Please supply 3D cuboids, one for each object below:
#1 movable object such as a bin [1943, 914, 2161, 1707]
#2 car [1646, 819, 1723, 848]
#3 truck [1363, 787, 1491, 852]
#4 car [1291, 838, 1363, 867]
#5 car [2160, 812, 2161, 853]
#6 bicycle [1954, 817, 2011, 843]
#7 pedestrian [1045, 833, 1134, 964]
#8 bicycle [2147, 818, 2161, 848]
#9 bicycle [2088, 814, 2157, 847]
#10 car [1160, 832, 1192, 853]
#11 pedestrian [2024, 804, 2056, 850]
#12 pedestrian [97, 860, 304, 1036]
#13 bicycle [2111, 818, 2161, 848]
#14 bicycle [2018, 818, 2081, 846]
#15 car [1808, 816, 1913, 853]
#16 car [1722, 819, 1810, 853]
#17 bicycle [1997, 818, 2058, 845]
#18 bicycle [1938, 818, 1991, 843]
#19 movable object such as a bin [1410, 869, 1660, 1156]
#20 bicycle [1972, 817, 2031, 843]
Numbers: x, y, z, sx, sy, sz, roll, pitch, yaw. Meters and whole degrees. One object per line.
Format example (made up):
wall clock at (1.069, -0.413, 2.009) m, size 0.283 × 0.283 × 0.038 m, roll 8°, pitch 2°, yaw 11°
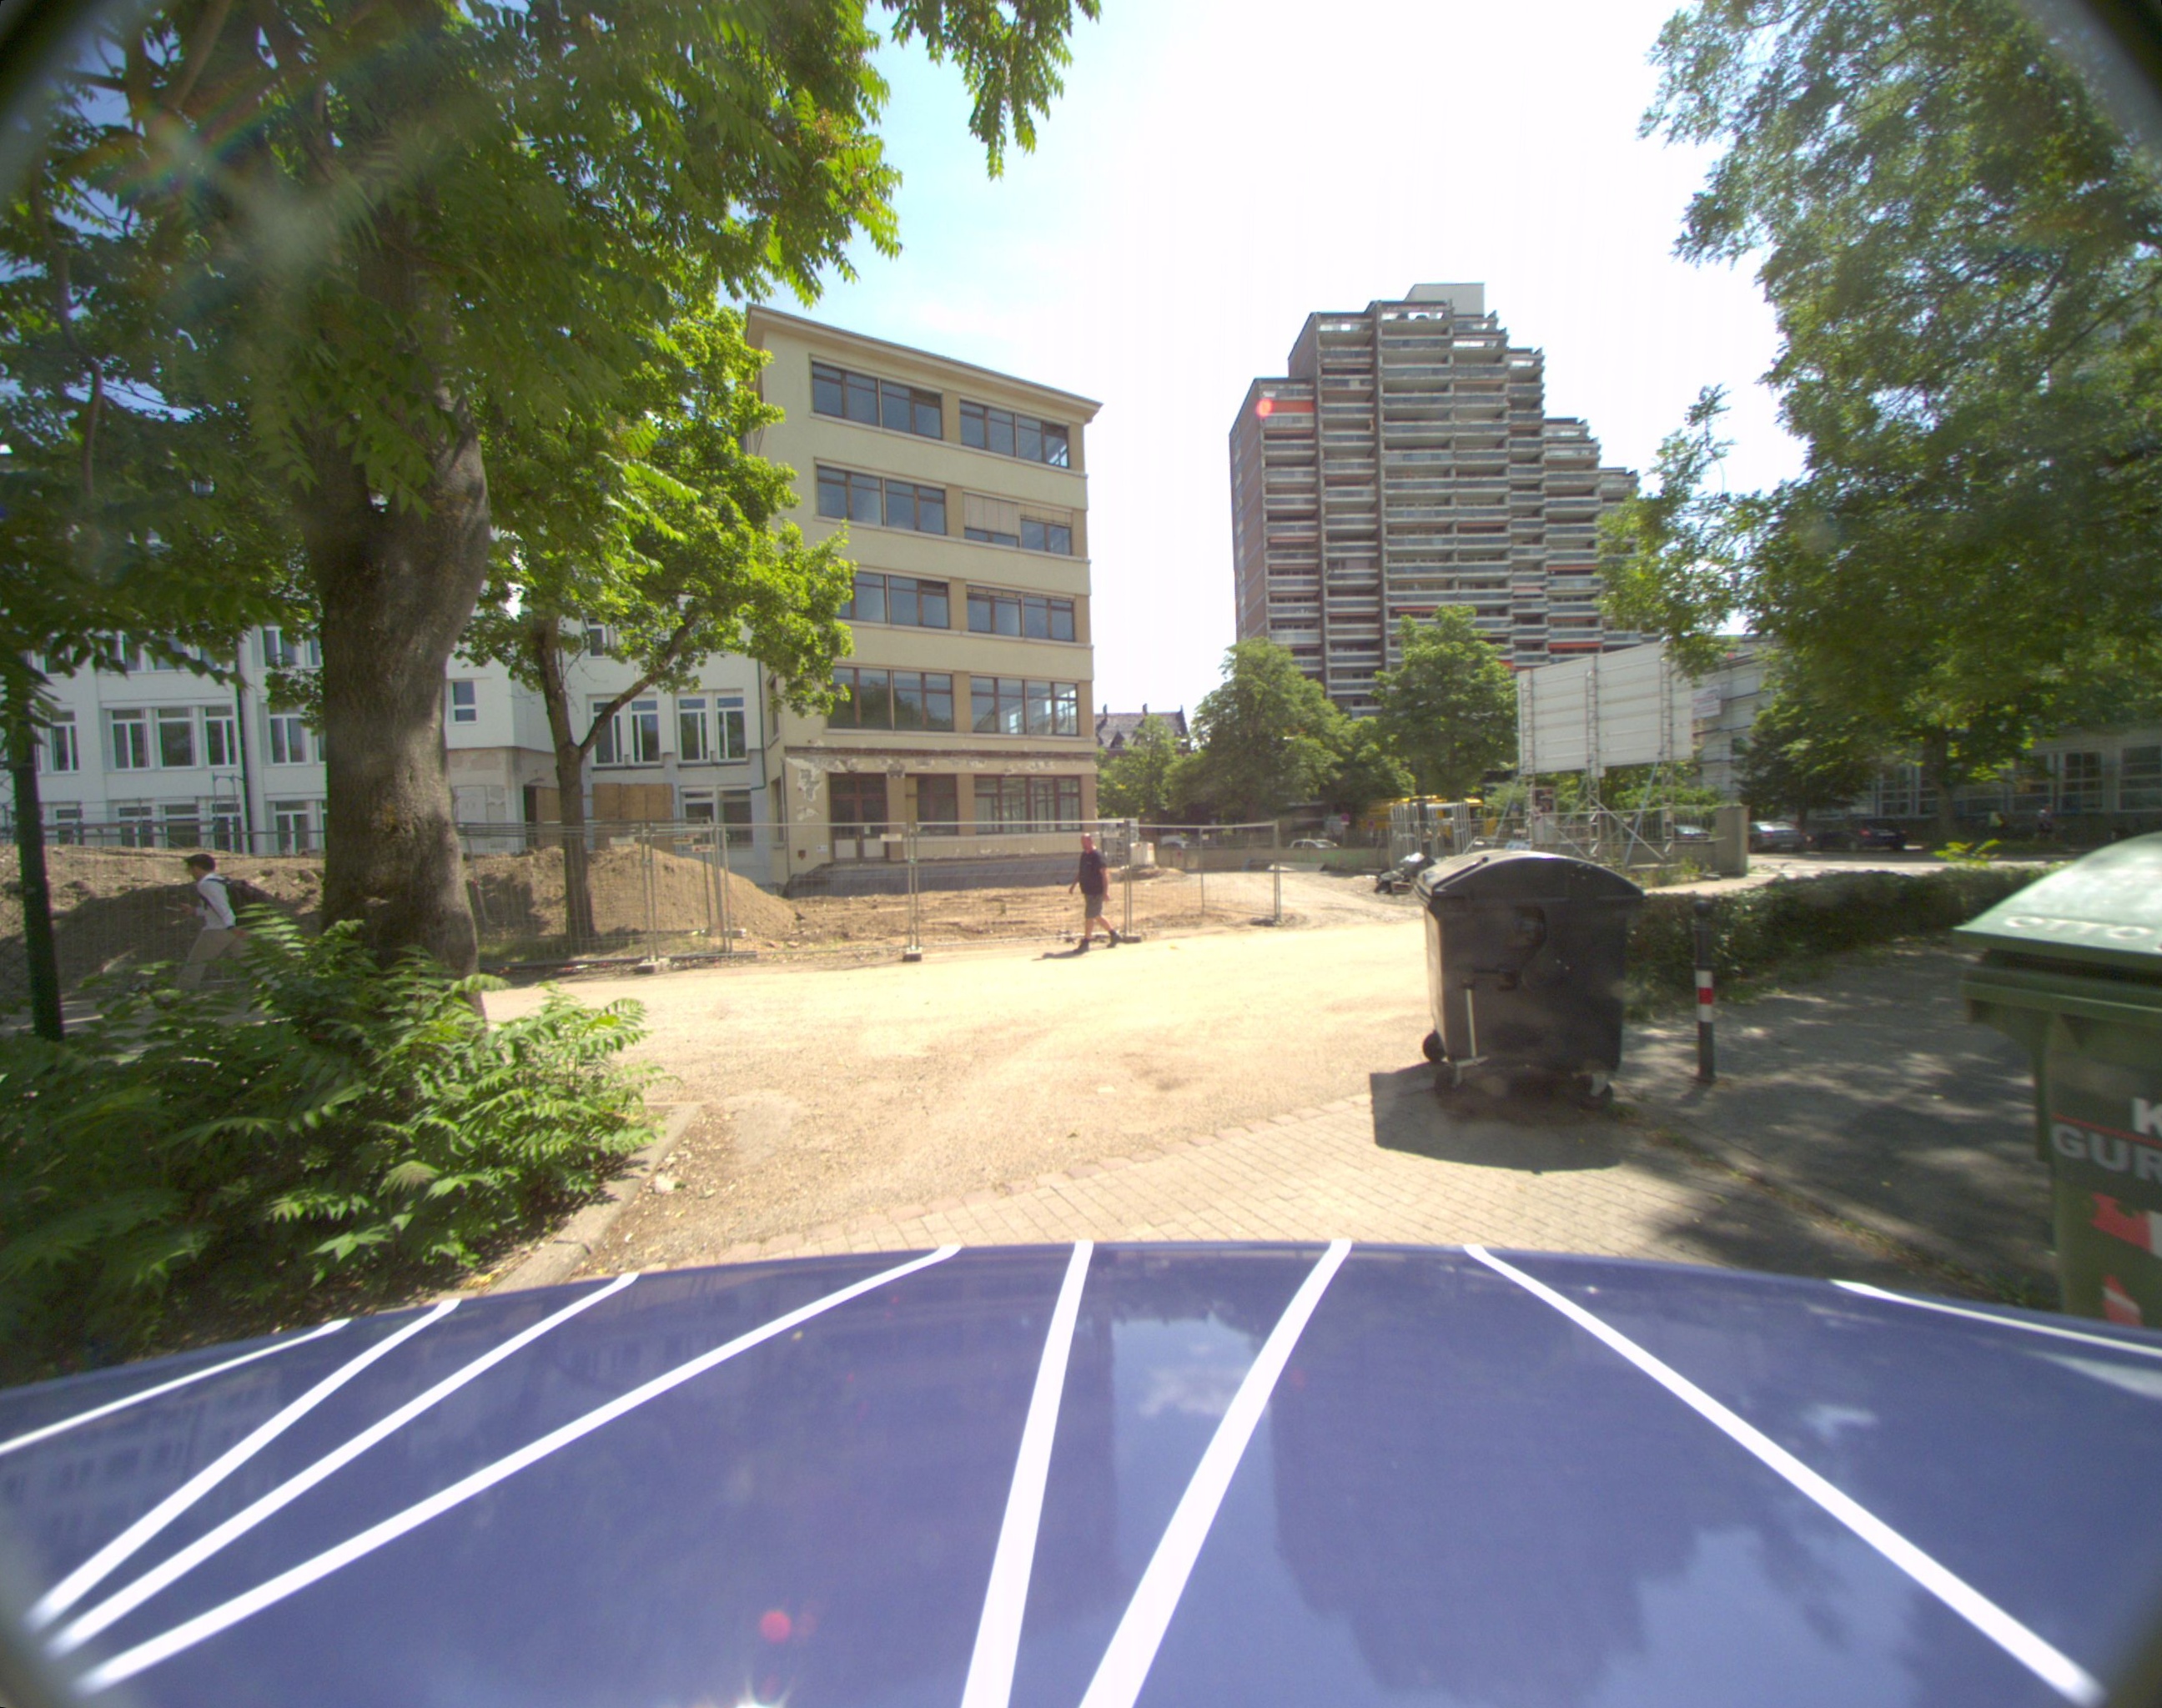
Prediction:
movable object such as a bin at (2.340, 0.861, 0.873) m, size 1.207 × 1.471 × 1.324 m, roll -2°, pitch 1°, yaw -4°
car at (31.125, -1.086, 39.319) m, size 1.627 × 1.365 × 4.026 m, roll -2°, pitch 1°, yaw 15°
truck at (23.649, -2.271, 52.768) m, size 2.751 × 3.983 × 9.732 m, roll -3°, pitch 1°, yaw -12°
car at (12.921, -0.090, 40.129) m, size 1.624 × 1.432 × 3.575 m, roll -3°, pitch 1°, yaw -25°
car at (39.394, -0.735, 25.264) m, size 1.751 × 1.461 × 4.201 m, roll -1°, pitch 1°, yaw 15°
bicycle at (42.302, -1.119, 35.645) m, size 1.926 × 1.124 × 0.568 m, roll -2°, pitch 2°, yaw 2°
pedestrian at (0.112, 0.620, 11.251) m, size 0.969 × 1.809 × 0.868 m, roll -3°, pitch 2°, yaw -26°
bicycle at (43.031, -0.847, 29.542) m, size 2.233 × 1.124 × 0.568 m, roll -2°, pitch 2°, yaw 2°
bicycle at (42.734, -0.961, 31.189) m, size 1.942 × 1.230 × 0.568 m, roll -2°, pitch 2°, yaw 2°
car at (9.960, -1.195, 79.570) m, size 1.995 × 2.002 × 4.006 m, roll -2°, pitch 1°, yaw 27°
pedestrian at (39.454, -1.118, 31.254) m, size 0.716 × 1.864 × 0.576 m, roll -2°, pitch 2°, yaw -15°
pedestrian at (-9.372, 0.952, 8.151) m, size 1.080 × 1.719 × 0.876 m, roll -2°, pitch 1°, yaw -10°
bicycle at (42.720, -0.856, 30.477) m, size 1.942 × 1.124 × 0.568 m, roll -2°, pitch 2°, yaw 2°
bicycle at (42.222, -0.962, 33.124) m, size 1.942 × 1.124 × 0.568 m, roll -2°, pitch 2°, yaw 2°
car at (34.365, -0.847, 33.633) m, size 1.647 × 1.508 × 3.579 m, roll -2°, pitch 1°, yaw 15°
car at (32.683, -0.875, 36.390) m, size 1.815 × 1.454 × 4.028 m, roll -2°, pitch 1°, yaw 21°
bicycle at (42.242, -1.019, 33.913) m, size 1.942 × 1.124 × 0.568 m, roll -2°, pitch 2°, yaw 2°
bicycle at (42.338, -1.130, 36.417) m, size 1.926 × 1.124 × 0.568 m, roll -2°, pitch 2°, yaw -1°
movable object such as a bin at (2.596, 0.820, 4.544) m, size 1.113 × 1.386 × 1.162 m, roll -1°, pitch 2°, yaw 22°
bicycle at (42.274, -1.099, 34.901) m, size 1.942 × 1.124 × 0.568 m, roll -2°, pitch 2°, yaw 2°
